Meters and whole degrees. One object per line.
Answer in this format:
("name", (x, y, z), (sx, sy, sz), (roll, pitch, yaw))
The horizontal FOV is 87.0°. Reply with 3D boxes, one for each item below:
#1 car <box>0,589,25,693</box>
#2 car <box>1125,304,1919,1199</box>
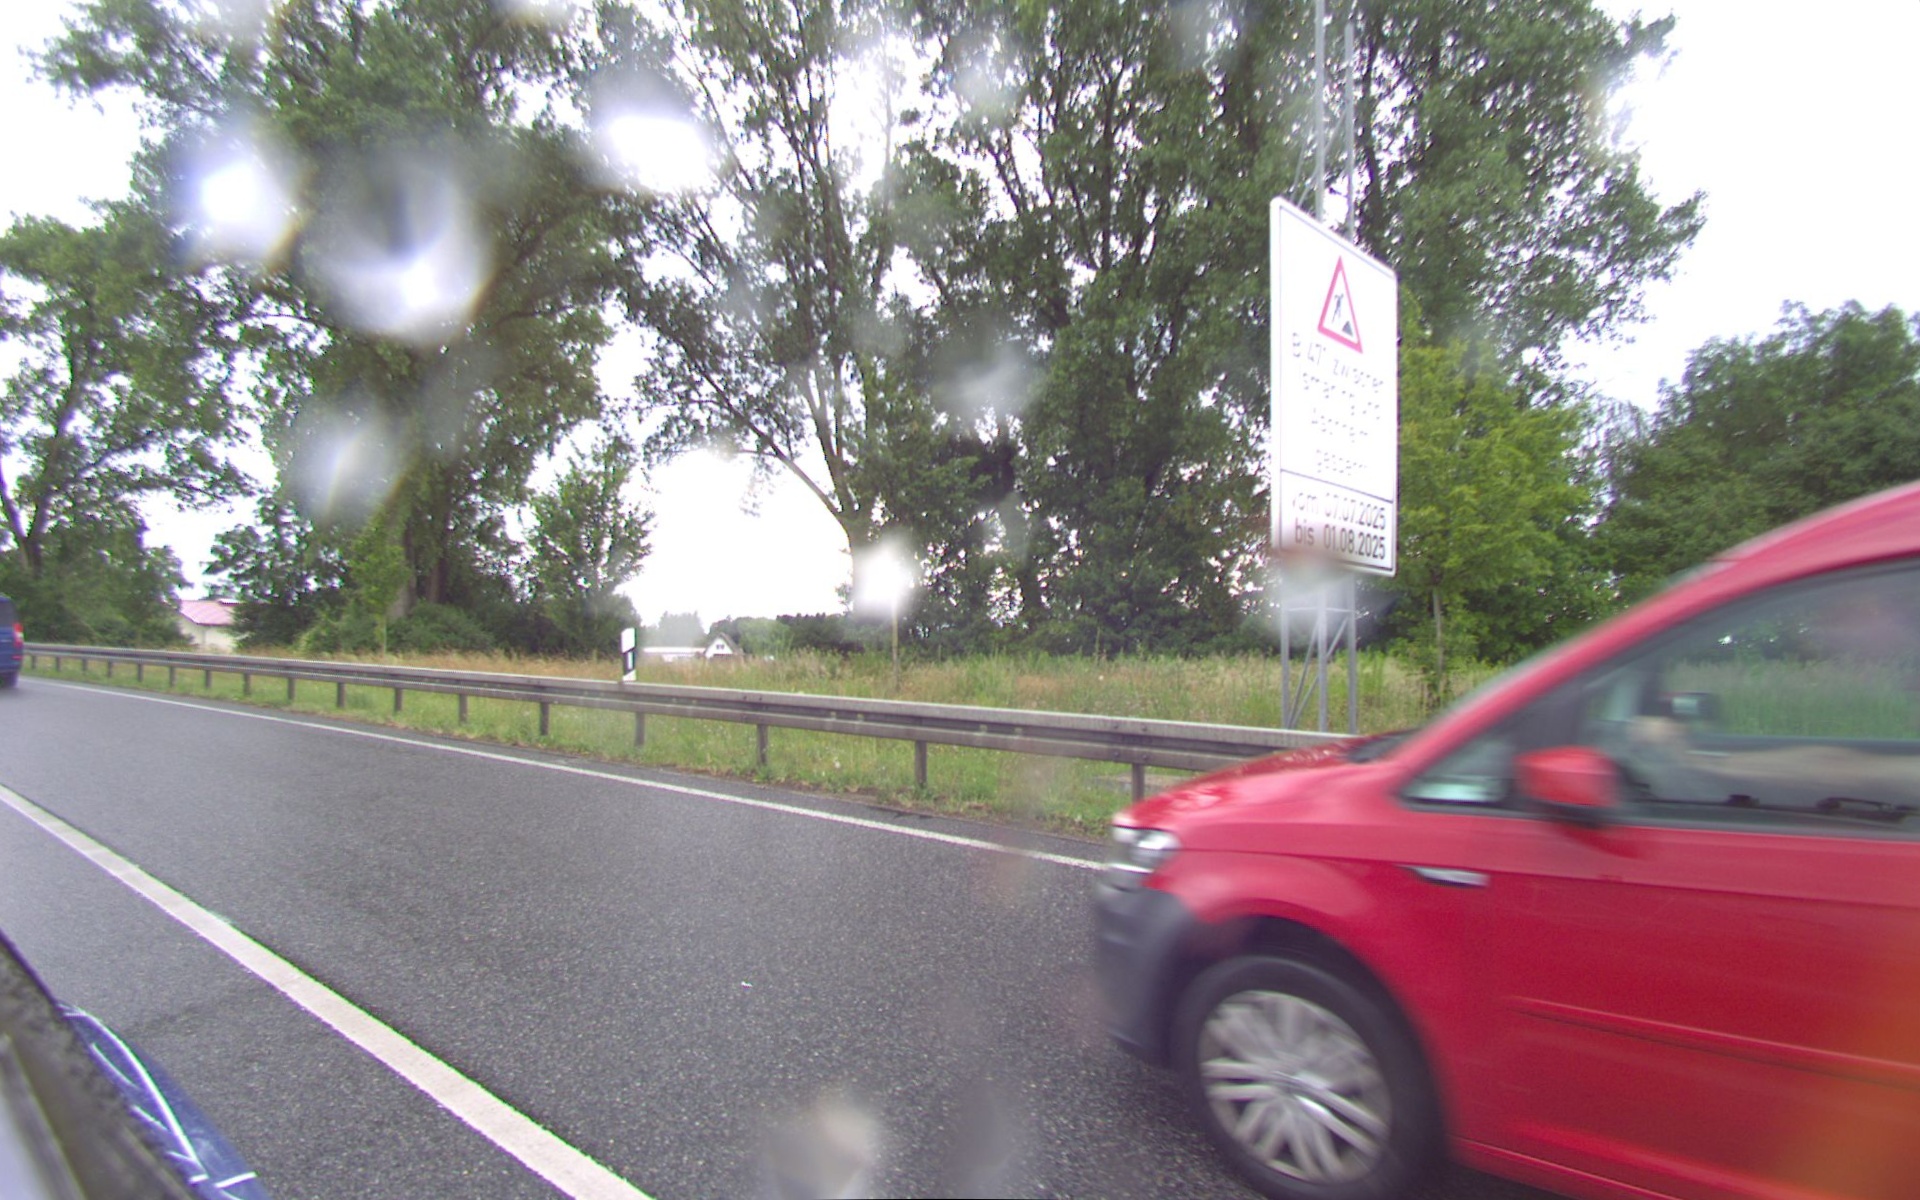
("car", (-21.051, 0.821, 20.641), (4.849, 2.029, 1.945), (0, 0, 35))
("car", (2.720, 0.449, 1.874), (4.517, 1.864, 1.783), (-1, -1, 40))
